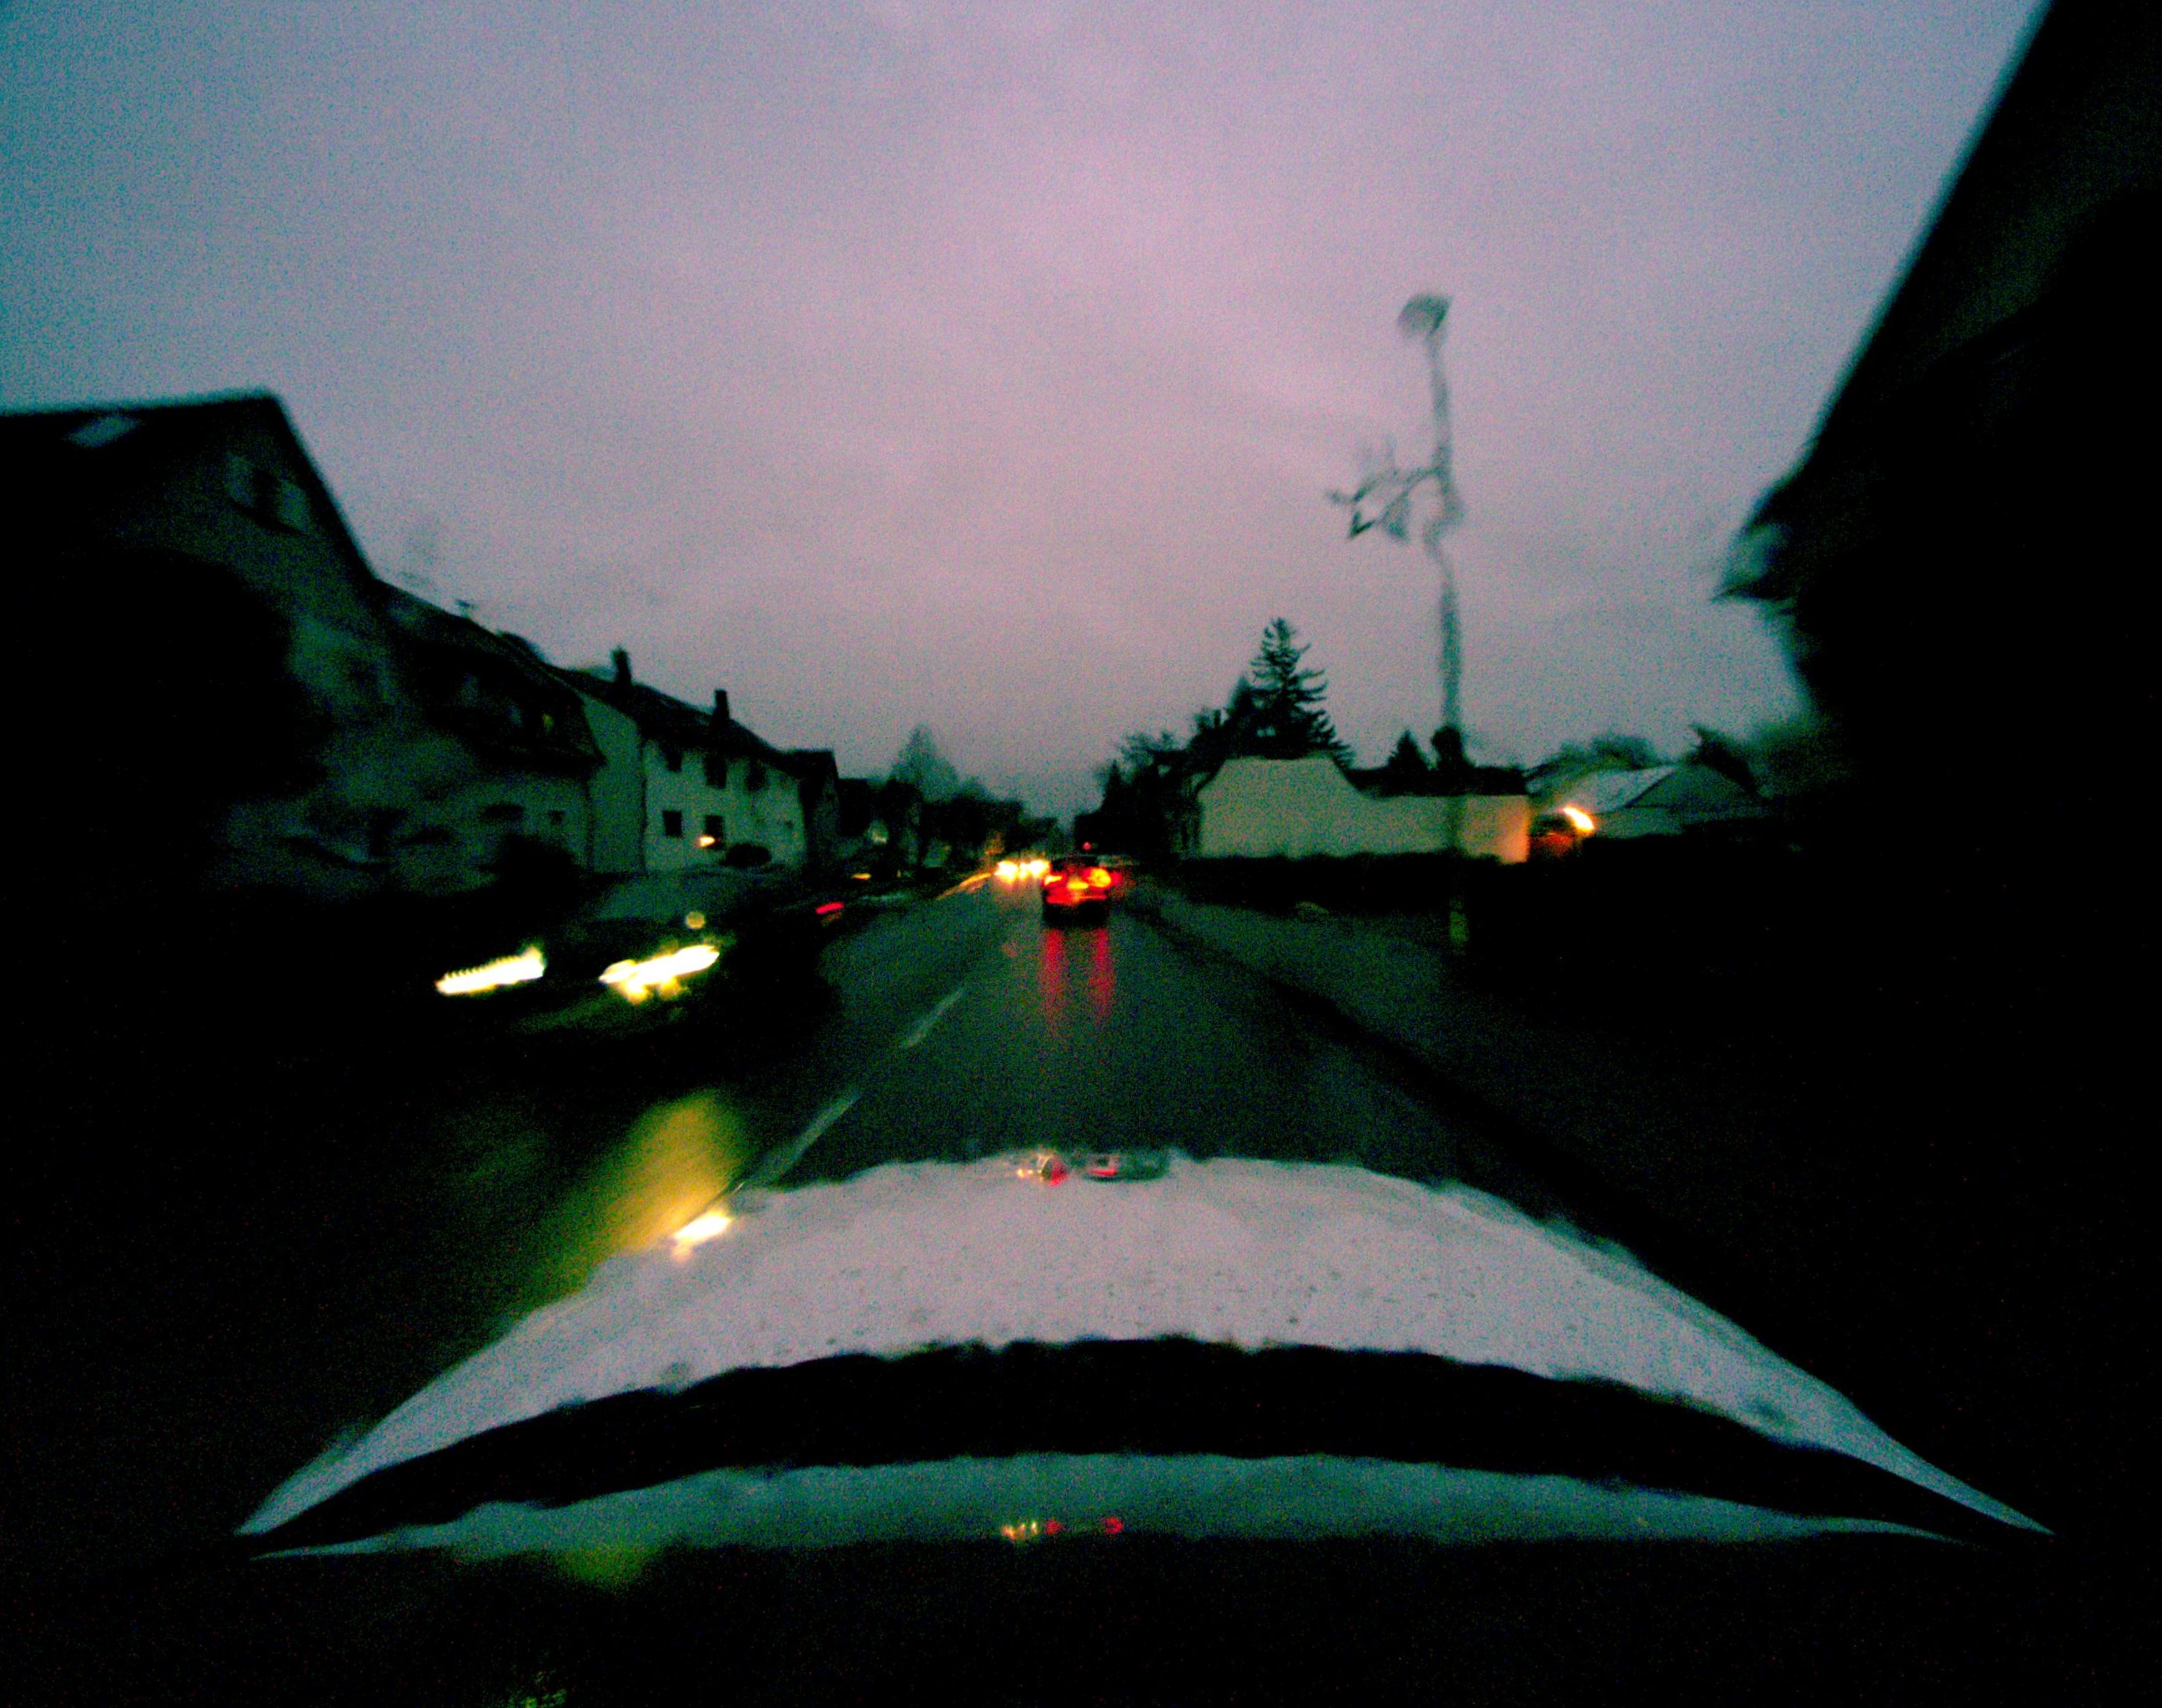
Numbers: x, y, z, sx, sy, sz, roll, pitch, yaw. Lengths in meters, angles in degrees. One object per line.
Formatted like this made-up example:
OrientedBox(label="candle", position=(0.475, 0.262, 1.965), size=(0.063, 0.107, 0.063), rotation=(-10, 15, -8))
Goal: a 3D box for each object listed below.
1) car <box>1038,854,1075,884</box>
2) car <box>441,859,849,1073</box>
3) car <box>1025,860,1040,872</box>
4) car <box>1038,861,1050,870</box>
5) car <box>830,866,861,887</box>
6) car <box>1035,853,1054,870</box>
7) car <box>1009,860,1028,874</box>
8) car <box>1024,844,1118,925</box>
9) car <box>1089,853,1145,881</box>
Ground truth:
OrientedBox(label="car", position=(-1.472, 0.837, 47.620), size=(1.856, 1.647, 3.990), rotation=(-1, 0, -7))
OrientedBox(label="car", position=(-3.916, 0.872, 8.245), size=(1.816, 1.554, 4.002), rotation=(-3, 0, 2))
OrientedBox(label="car", position=(-6.712, 1.673, 112.435), size=(1.907, 1.431, 3.999), rotation=(-1, 2, -1))
OrientedBox(label="car", position=(-5.788, 1.834, 128.621), size=(1.838, 1.331, 3.934), rotation=(-2, 0, -2))
OrientedBox(label="car", position=(-15.711, 1.491, 54.423), size=(1.779, 1.393, 3.981), rotation=(1, -1, -13))
OrientedBox(label="car", position=(-4.611, 0.971, 103.059), size=(2.305, 1.939, 5.011), rotation=(-1, -1, -4))
OrientedBox(label="car", position=(-7.521, 1.512, 98.272), size=(1.907, 1.522, 3.999), rotation=(-1, 1, -1))
OrientedBox(label="car", position=(-0.389, 0.802, 22.736), size=(2.305, 1.939, 5.011), rotation=(-1, -1, -4))
OrientedBox(label="car", position=(2.790, 1.014, 63.895), size=(4.232, 2.014, 1.811), rotation=(-2, -1, 0))
